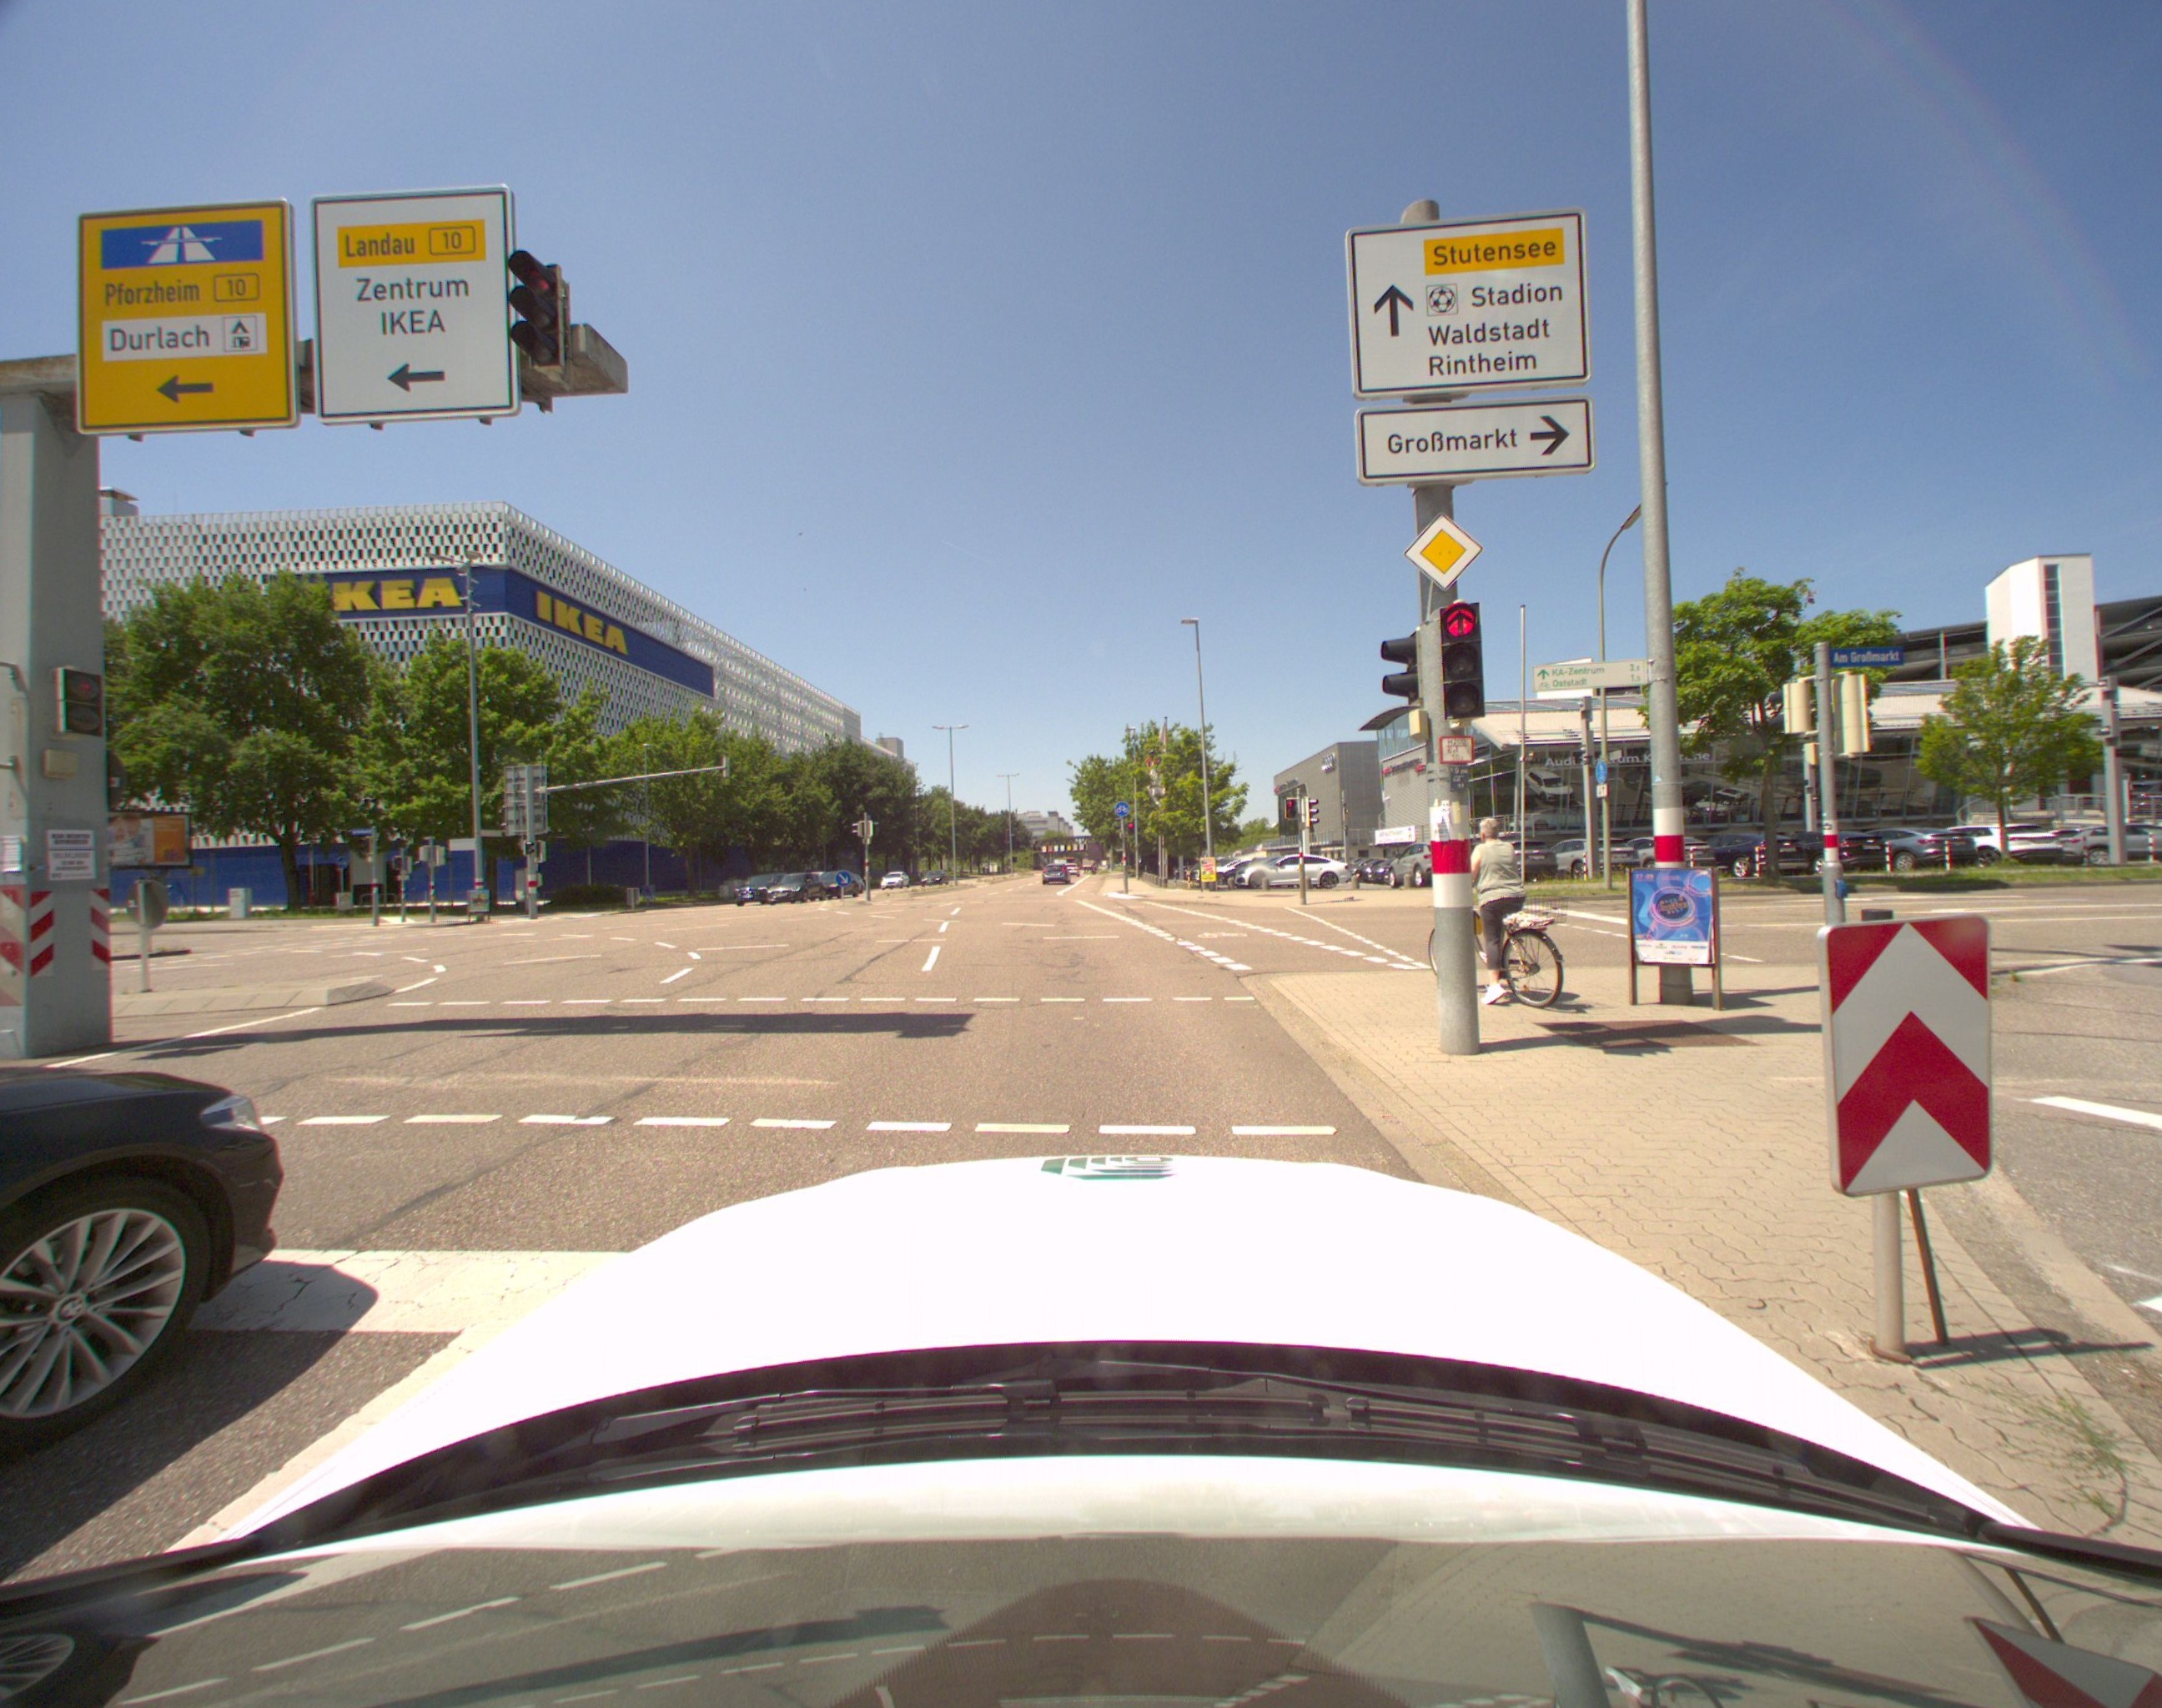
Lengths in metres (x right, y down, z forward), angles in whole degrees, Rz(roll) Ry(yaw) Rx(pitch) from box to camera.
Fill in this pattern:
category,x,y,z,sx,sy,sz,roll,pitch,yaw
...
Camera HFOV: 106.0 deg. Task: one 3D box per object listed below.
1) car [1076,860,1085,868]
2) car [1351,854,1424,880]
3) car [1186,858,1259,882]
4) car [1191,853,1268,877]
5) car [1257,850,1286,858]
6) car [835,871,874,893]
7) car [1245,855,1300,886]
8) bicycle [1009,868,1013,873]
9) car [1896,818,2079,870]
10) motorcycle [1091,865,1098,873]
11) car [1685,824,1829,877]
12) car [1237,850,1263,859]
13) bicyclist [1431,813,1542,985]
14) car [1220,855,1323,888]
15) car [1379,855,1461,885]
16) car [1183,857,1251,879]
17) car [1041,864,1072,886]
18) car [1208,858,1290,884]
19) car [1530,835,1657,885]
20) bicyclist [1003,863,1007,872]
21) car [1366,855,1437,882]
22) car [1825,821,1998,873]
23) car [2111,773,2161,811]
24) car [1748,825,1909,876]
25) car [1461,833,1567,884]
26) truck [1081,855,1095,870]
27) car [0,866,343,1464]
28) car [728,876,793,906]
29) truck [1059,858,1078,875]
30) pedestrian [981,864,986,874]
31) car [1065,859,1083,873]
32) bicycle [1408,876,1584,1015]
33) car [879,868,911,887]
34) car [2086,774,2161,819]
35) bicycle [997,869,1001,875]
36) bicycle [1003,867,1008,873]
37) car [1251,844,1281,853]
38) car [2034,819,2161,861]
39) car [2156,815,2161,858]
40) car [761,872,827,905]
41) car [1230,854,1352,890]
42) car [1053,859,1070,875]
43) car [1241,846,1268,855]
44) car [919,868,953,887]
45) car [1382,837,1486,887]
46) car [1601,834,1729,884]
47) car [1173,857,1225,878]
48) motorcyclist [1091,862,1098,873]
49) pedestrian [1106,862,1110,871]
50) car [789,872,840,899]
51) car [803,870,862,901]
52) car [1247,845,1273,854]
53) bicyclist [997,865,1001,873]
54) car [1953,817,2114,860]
category,x,y,z,sx,sy,sz,roll,pitch,yaw
car,-0.100,2.571,211.441,1.984,2.013,4.005,-3,-1,5
car,19.148,0.833,51.031,3.967,1.573,1.634,0,-1,1
car,8.529,0.950,49.342,4.210,1.390,1.869,0,-1,1
car,8.436,0.632,46.433,4.084,1.349,1.869,0,-1,1
car,27.107,0.053,116.098,3.716,1.130,1.682,0,-1,-3
car,-16.491,2.011,59.493,1.643,1.486,3.916,-3,-1,2
car,9.235,0.793,39.607,1.855,1.420,4.667,0,-1,4
bicycle,-15.385,3.590,179.685,0.627,1.159,2.118,-4,-1,1
car,31.174,-0.304,28.210,1.840,1.654,3.994,0,-1,-2
motorcycle,1.764,1.965,106.075,0.716,1.105,1.825,-1,-1,-8
car,23.141,-0.093,28.085,1.624,1.654,3.907,-1,-1,-2
car,28.044,0.014,135.219,3.978,1.312,1.795,-2,-1,-3
bicyclist,3.979,0.424,8.040,0.627,1.606,0.824,0,-1,-5
car,8.261,0.748,35.562,4.081,1.390,1.869,0,-1,1
car,18.974,0.884,45.700,3.970,1.622,1.657,0,-1,1
car,8.664,0.906,52.236,4.085,1.405,1.869,0,-1,1
car,-1.708,1.472,58.232,1.894,1.376,4.232,-2,-1,1
car,8.954,0.910,43.598,4.081,1.364,1.875,0,-1,1
car,17.935,0.219,28.741,1.840,1.654,3.994,0,-1,-2
bicyclist,-15.502,2.774,166.363,0.742,1.686,0.952,-2,-1,2
car,19.177,0.886,48.820,3.634,1.580,1.643,0,-1,1
car,28.533,-0.206,28.189,1.840,1.654,3.994,0,-1,-2
car,53.482,-3.109,39.405,1.905,1.722,4.142,-2,0,-5
car,25.751,-0.095,28.258,1.840,1.654,3.994,0,-1,-2
car,15.079,0.224,28.625,1.836,1.655,4.003,0,-3,5
truck,1.361,1.673,163.144,2.605,2.850,5.616,0,-1,2
car,-3.550,0.770,0.599,1.791,1.440,4.557,-2,0,1
car,-16.803,1.905,42.938,1.654,1.424,4.039,-3,-1,2
truck,-1.838,1.812,120.285,2.449,2.410,7.136,0,-1,2
pedestrian,-19.070,2.929,158.938,0.741,1.884,0.578,-2,-1,2
car,-0.709,1.273,87.552,1.737,1.396,3.530,-3,-1,2
bicycle,3.986,0.815,8.012,0.627,1.133,1.891,-1,0,-5
car,-16.212,2.041,71.098,1.737,1.486,4.001,-3,-1,2
car,45.597,-2.472,34.024,4.552,1.707,1.916,-2,-1,4
bicycle,-16.285,3.611,162.021,0.635,1.134,1.970,-2,-1,0
bicycle,-15.476,3.343,166.461,0.736,1.125,2.436,-2,-1,2
car,27.274,-0.872,120.207,3.930,1.211,1.715,-1,-1,-3
car,39.584,-0.556,30.559,4.531,1.471,1.925,-3,-1,26
car,39.554,-0.692,26.864,4.558,1.471,1.861,-3,-1,26
car,-13.764,1.644,39.266,1.637,1.389,3.717,-4,-1,2
car,8.494,0.714,33.190,4.572,1.390,1.871,0,-1,3
car,-2.492,1.633,104.298,1.986,2.014,4.000,-2,-1,1
car,27.475,-0.581,129.014,3.977,1.312,1.795,0,-1,-3
car,-12.819,2.053,72.158,1.718,1.446,4.725,-4,-1,4
car,12.376,0.333,28.915,1.860,1.558,4.506,-3,-2,3
car,20.218,0.142,28.410,1.632,1.616,3.815,-1,1,-2
car,8.681,0.994,60.230,3.668,1.453,1.834,0,-1,1
motorcyclist,1.741,1.754,106.182,0.719,1.529,0.868,0,-1,-8
pedestrian,4.547,2.112,136.784,0.621,1.374,0.564,-2,-1,0
car,-16.675,1.940,51.178,1.720,1.544,3.916,-3,-1,2
car,-13.826,1.731,45.522,1.720,1.505,4.245,-4,-1,2
car,27.176,-0.653,123.870,3.515,1.239,1.675,0,-1,-3
bicyclist,-16.304,2.918,161.908,0.635,1.582,0.884,-2,-1,-1
car,39.887,-0.617,34.255,3.947,1.571,1.862,-3,-1,31
